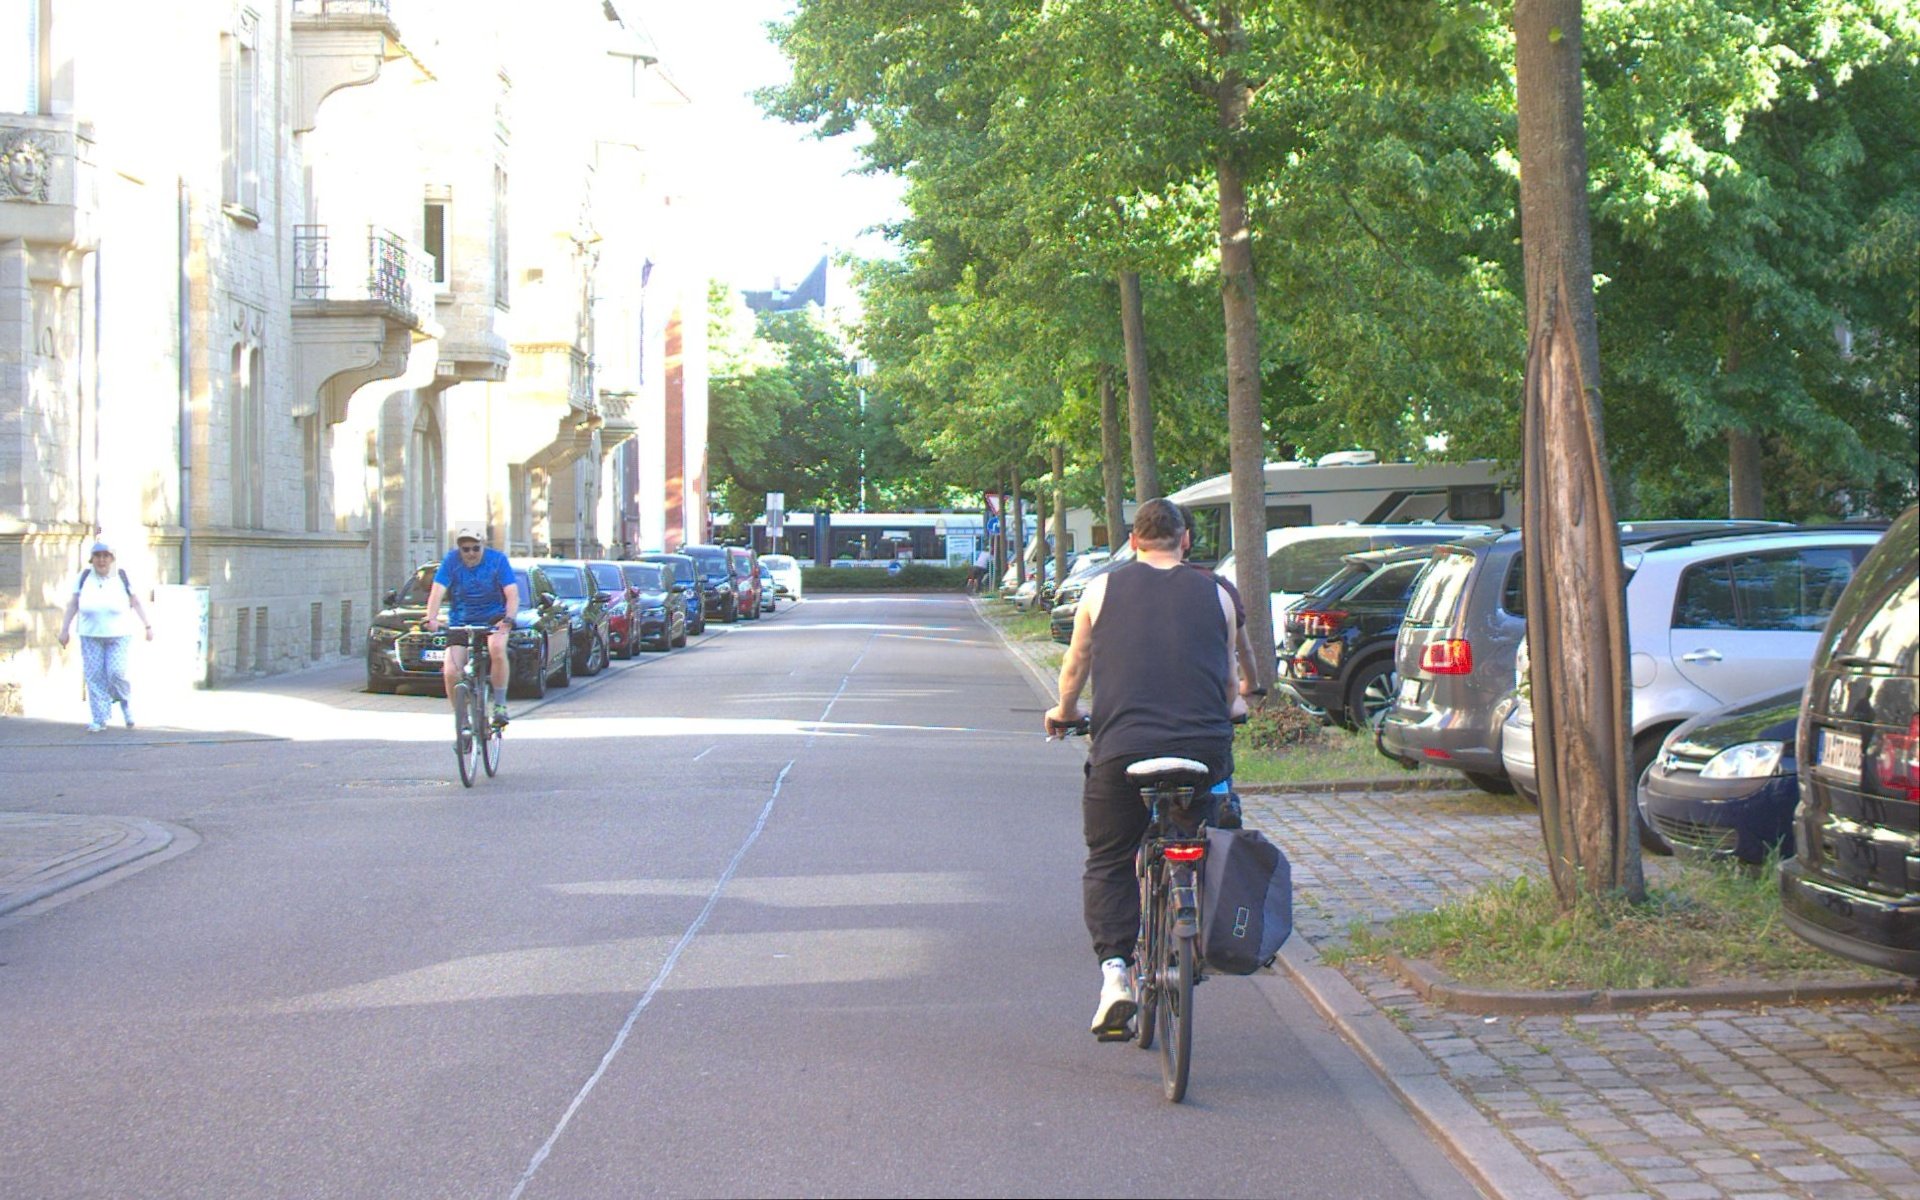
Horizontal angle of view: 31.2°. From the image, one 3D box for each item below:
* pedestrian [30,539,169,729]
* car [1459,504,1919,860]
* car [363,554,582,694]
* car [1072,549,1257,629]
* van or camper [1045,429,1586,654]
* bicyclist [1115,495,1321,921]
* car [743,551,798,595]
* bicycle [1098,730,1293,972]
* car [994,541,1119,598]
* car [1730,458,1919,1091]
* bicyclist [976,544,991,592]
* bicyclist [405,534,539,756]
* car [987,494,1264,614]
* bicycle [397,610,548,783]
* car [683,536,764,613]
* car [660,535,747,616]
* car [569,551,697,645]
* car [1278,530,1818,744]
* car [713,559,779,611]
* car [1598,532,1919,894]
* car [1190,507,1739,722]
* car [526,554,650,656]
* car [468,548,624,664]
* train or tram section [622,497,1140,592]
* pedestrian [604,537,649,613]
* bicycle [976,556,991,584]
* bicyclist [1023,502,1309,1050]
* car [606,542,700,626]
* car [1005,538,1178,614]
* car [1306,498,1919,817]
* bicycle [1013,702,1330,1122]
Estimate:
[{"bbox_3d":[-7.381,0.276,29.543,0.888,1.571,1.053,-1,1,0],"label":"pedestrian"},{"bbox_3d":[4.831,0.332,17.627,4.273,1.628,1.690,-3,1,3],"label":"car"},{"bbox_3d":[-5.471,0.241,39.137,1.811,1.422,4.898,2,0,-1],"label":"car"},{"bbox_3d":[4.230,-0.216,71.508,3.773,1.594,1.690,-1,-1,1],"label":"car"},{"bbox_3d":[4.816,-0.806,47.556,7.147,2.638,2.464,-3,1,2],"label":"van or camper"},{"bbox_3d":[1.020,0.411,13.774,0.689,1.621,0.998,2,1,0],"label":"bicyclist"},{"bbox_3d":[-6.367,-0.933,115.782,1.583,1.371,4.131,2,1,0],"label":"car"},{"bbox_3d":[0.917,0.972,13.769,0.633,0.796,1.832,-1,1,-1],"label":"bicycle"},{"bbox_3d":[3.205,-1.012,114.686,3.986,1.797,1.834,1,0,-2],"label":"car"},{"bbox_3d":[4.769,0.322,9.976,4.581,1.671,1.907,-3,1,2],"label":"car"},{"bbox_3d":[0.848,-1.152,125.538,0.486,1.738,0.656,1,0,-1],"label":"bicyclist"},{"bbox_3d":[-3.274,0.295,23.148,0.759,1.449,0.949,-1,0,-1],"label":"bicyclist"},{"bbox_3d":[4.402,-1.240,92.443,7.146,2.968,2.465,-2,1,-3],"label":"car"},{"bbox_3d":[-3.268,0.627,23.214,0.757,1.104,1.907,-1,0,-1],"label":"bicycle"},{"bbox_3d":[-5.977,-0.665,87.297,1.689,1.819,4.273,2,1,0],"label":"car"},{"bbox_3d":[-5.964,-0.594,80.320,1.640,1.777,4.354,2,1,0],"label":"car"},{"bbox_3d":[-5.496,-0.061,58.197,1.675,1.425,4.550,2,1,0],"label":"car"},{"bbox_3d":[4.746,0.278,28.153,4.068,1.471,1.694,-3,2,1],"label":"car"},{"bbox_3d":[-6.090,-0.449,98.300,1.583,1.339,4.131,2,1,0],"label":"car"},{"bbox_3d":[4.887,0.399,15.301,3.721,1.448,1.589,-3,1,-1],"label":"car"},{"bbox_3d":[4.438,0.114,30.769,4.619,1.704,1.833,-2,1,1],"label":"car"},{"bbox_3d":[-5.623,0.049,52.315,1.628,1.448,3.838,1,1,-3],"label":"car"},{"bbox_3d":[-5.394,0.070,45.166,1.696,1.448,4.028,0,0,-2],"label":"car"},{"bbox_3d":[-3.439,-2.481,158.173,23.799,3.696,4.287,1,0,-22],"label":"train or tram section"},{"bbox_3d":[-7.792,-0.583,80.343,0.938,1.736,0.735,1,0,1],"label":"pedestrian"},{"bbox_3d":[0.857,-1.100,125.742,0.498,1.002,1.474,1,-1,0],"label":"bicycle"},{"bbox_3d":[0.597,0.503,10.266,0.730,1.542,0.884,2,0,-2],"label":"bicyclist"},{"bbox_3d":[-5.956,-0.325,66.962,1.595,1.484,2.737,3,1,-2],"label":"car"},{"bbox_3d":[3.243,-0.593,85.119,4.082,1.644,1.641,-3,0,-2],"label":"car"},{"bbox_3d":[4.537,0.276,20.618,4.538,1.628,1.813,-3,1,-6],"label":"car"},{"bbox_3d":[0.584,0.869,10.233,0.737,1.050,1.956,2,0,-2],"label":"bicycle"}]
